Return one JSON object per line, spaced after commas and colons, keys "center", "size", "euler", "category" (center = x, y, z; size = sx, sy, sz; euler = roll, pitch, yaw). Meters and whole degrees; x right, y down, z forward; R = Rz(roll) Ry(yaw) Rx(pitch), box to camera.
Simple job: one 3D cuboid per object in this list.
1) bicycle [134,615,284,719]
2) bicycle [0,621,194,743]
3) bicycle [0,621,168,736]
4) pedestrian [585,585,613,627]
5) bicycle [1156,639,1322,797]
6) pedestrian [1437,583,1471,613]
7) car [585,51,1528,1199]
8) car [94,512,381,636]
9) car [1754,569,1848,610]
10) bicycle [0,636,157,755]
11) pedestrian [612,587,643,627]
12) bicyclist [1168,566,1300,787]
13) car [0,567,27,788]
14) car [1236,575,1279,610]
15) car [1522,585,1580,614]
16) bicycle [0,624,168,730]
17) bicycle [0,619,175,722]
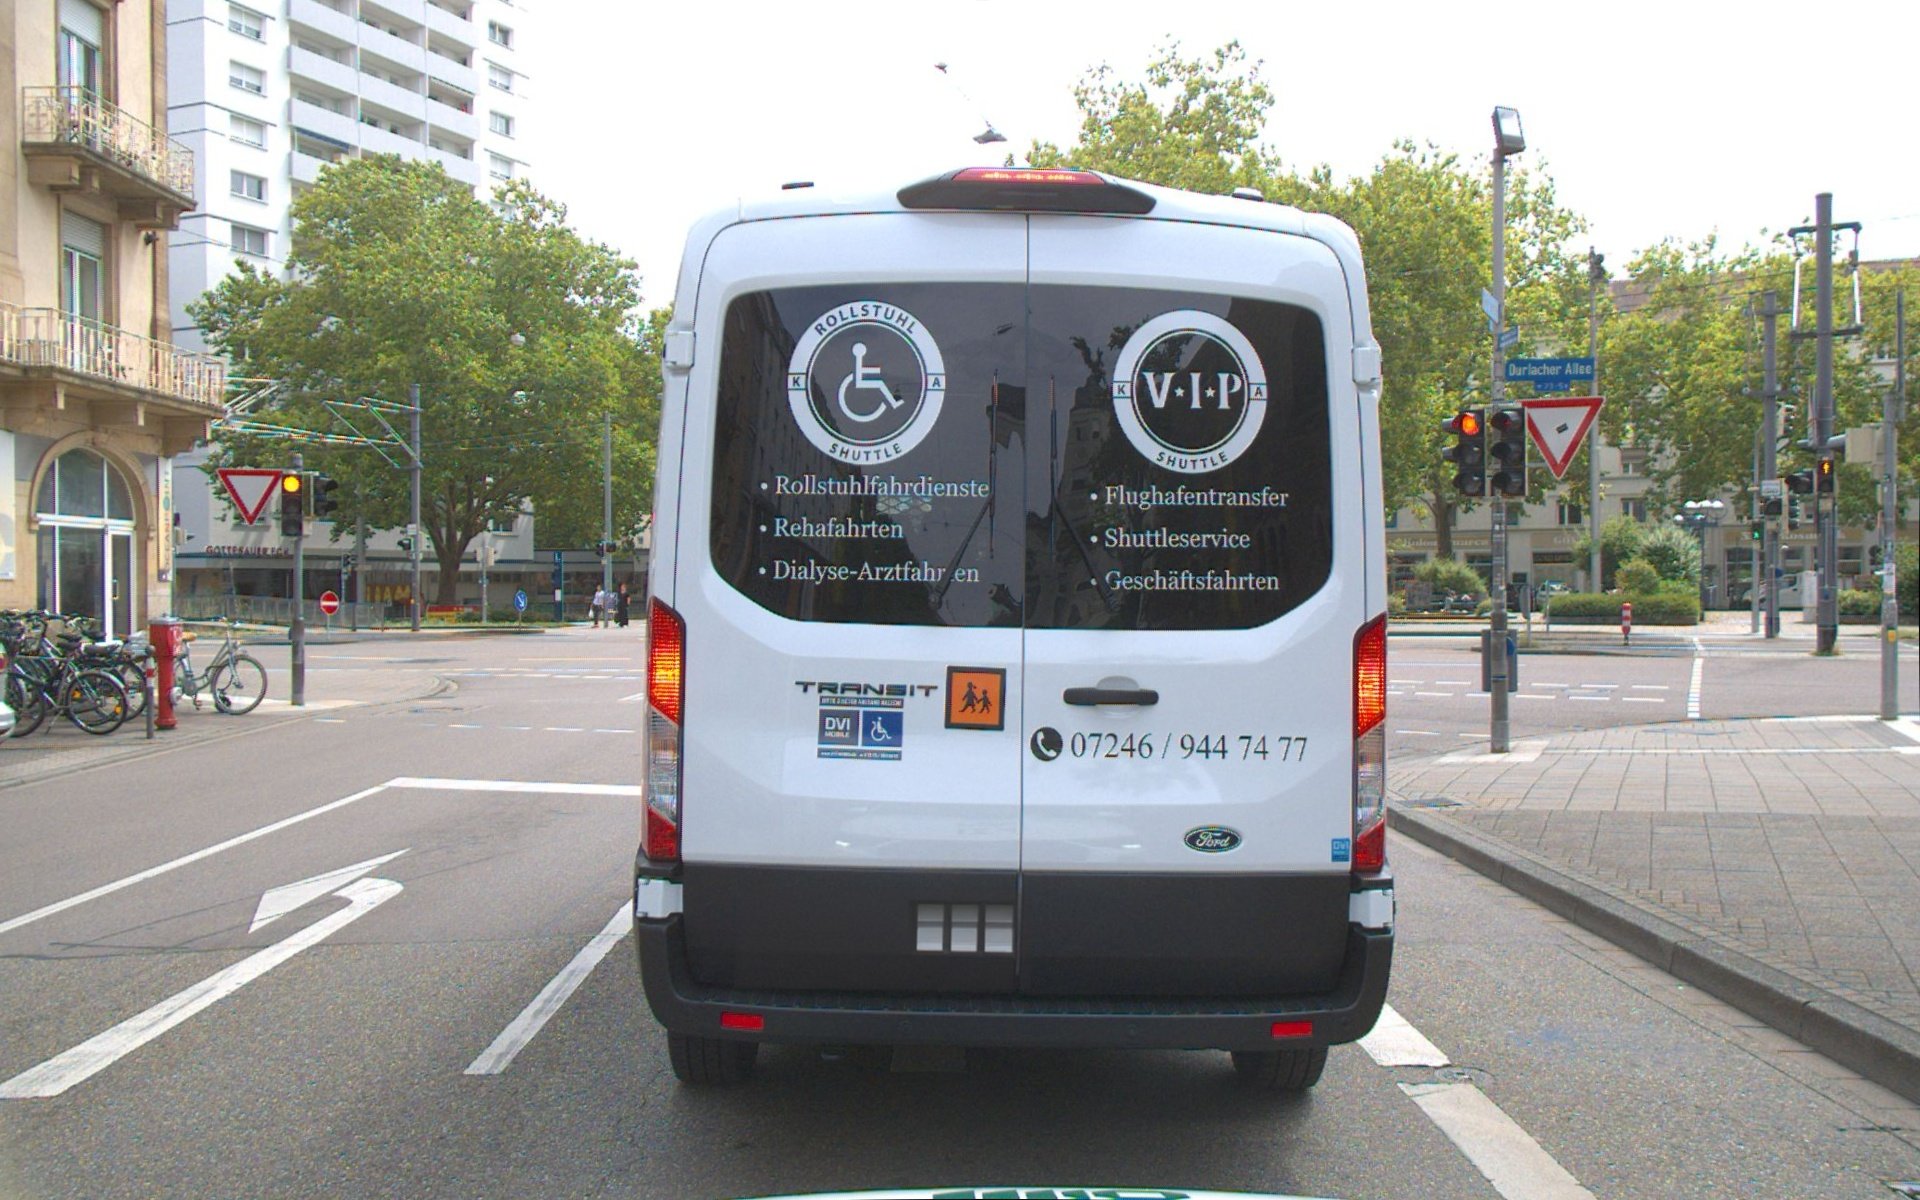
{"center": [-9.289, 0.811, 20.443], "size": [1.836, 1.187, 0.498], "euler": [2, 0, 20], "category": "bicycle"}
{"center": [-9.050, 0.842, 17.282], "size": [1.771, 1.140, 0.594], "euler": [3, 0, 3], "category": "bicycle"}
{"center": [-9.679, 0.849, 18.010], "size": [1.775, 1.186, 0.593], "euler": [2, 0, -9], "category": "bicycle"}
{"center": [-13.795, 0.234, 63.221], "size": [0.790, 1.600, 0.724], "euler": [0, 0, 13], "category": "pedestrian"}
{"center": [2.183, 0.894, 13.220], "size": [0.885, 1.094, 1.969], "euler": [0, 1, -3], "category": "bicycle"}
{"center": [21.193, -0.079, 70.969], "size": [1.068, 1.257, 1.441], "euler": [-2, 0, 4], "category": "pedestrian"}
{"center": [0.151, 0.068, 6.156], "size": [2.138, 2.694, 4.627], "euler": [1, 1, -2], "category": "car"}
{"center": [-24.966, -0.846, 57.053], "size": [9.686, 3.984, 3.454], "euler": [0, 0, 24], "category": "car"}
{"center": [40.275, -0.501, 79.299], "size": [3.907, 1.916, 1.857], "euler": [-1, 0, 24], "category": "car"}
{"center": [-9.090, 0.954, 16.610], "size": [1.771, 1.140, 0.594], "euler": [-1, 0, 6], "category": "bicycle"}
{"center": [-12.677, 0.267, 63.113], "size": [0.910, 1.541, 0.724], "euler": [0, 0, 14], "category": "pedestrian"}
{"center": [2.183, 0.593, 13.258], "size": [0.886, 1.713, 0.756], "euler": [0, 0, -4], "category": "bicyclist"}
{"center": [-9.776, 0.651, 13.052], "size": [3.974, 1.804, 1.771], "euler": [-1, 1, -40], "category": "car"}
{"center": [17.079, -0.425, 95.102], "size": [1.951, 1.964, 4.002], "euler": [-1, 0, 4], "category": "car"}
{"center": [31.735, -0.044, 88.908], "size": [1.951, 1.529, 4.002], "euler": [-1, 0, 4], "category": "car"}
{"center": [-10.011, 0.864, 18.686], "size": [1.775, 1.140, 0.593], "euler": [2, 0, -9], "category": "bicycle"}
{"center": [-10.222, 0.819, 19.311], "size": [1.775, 1.140, 0.593], "euler": [2, 0, -9], "category": "bicycle"}
